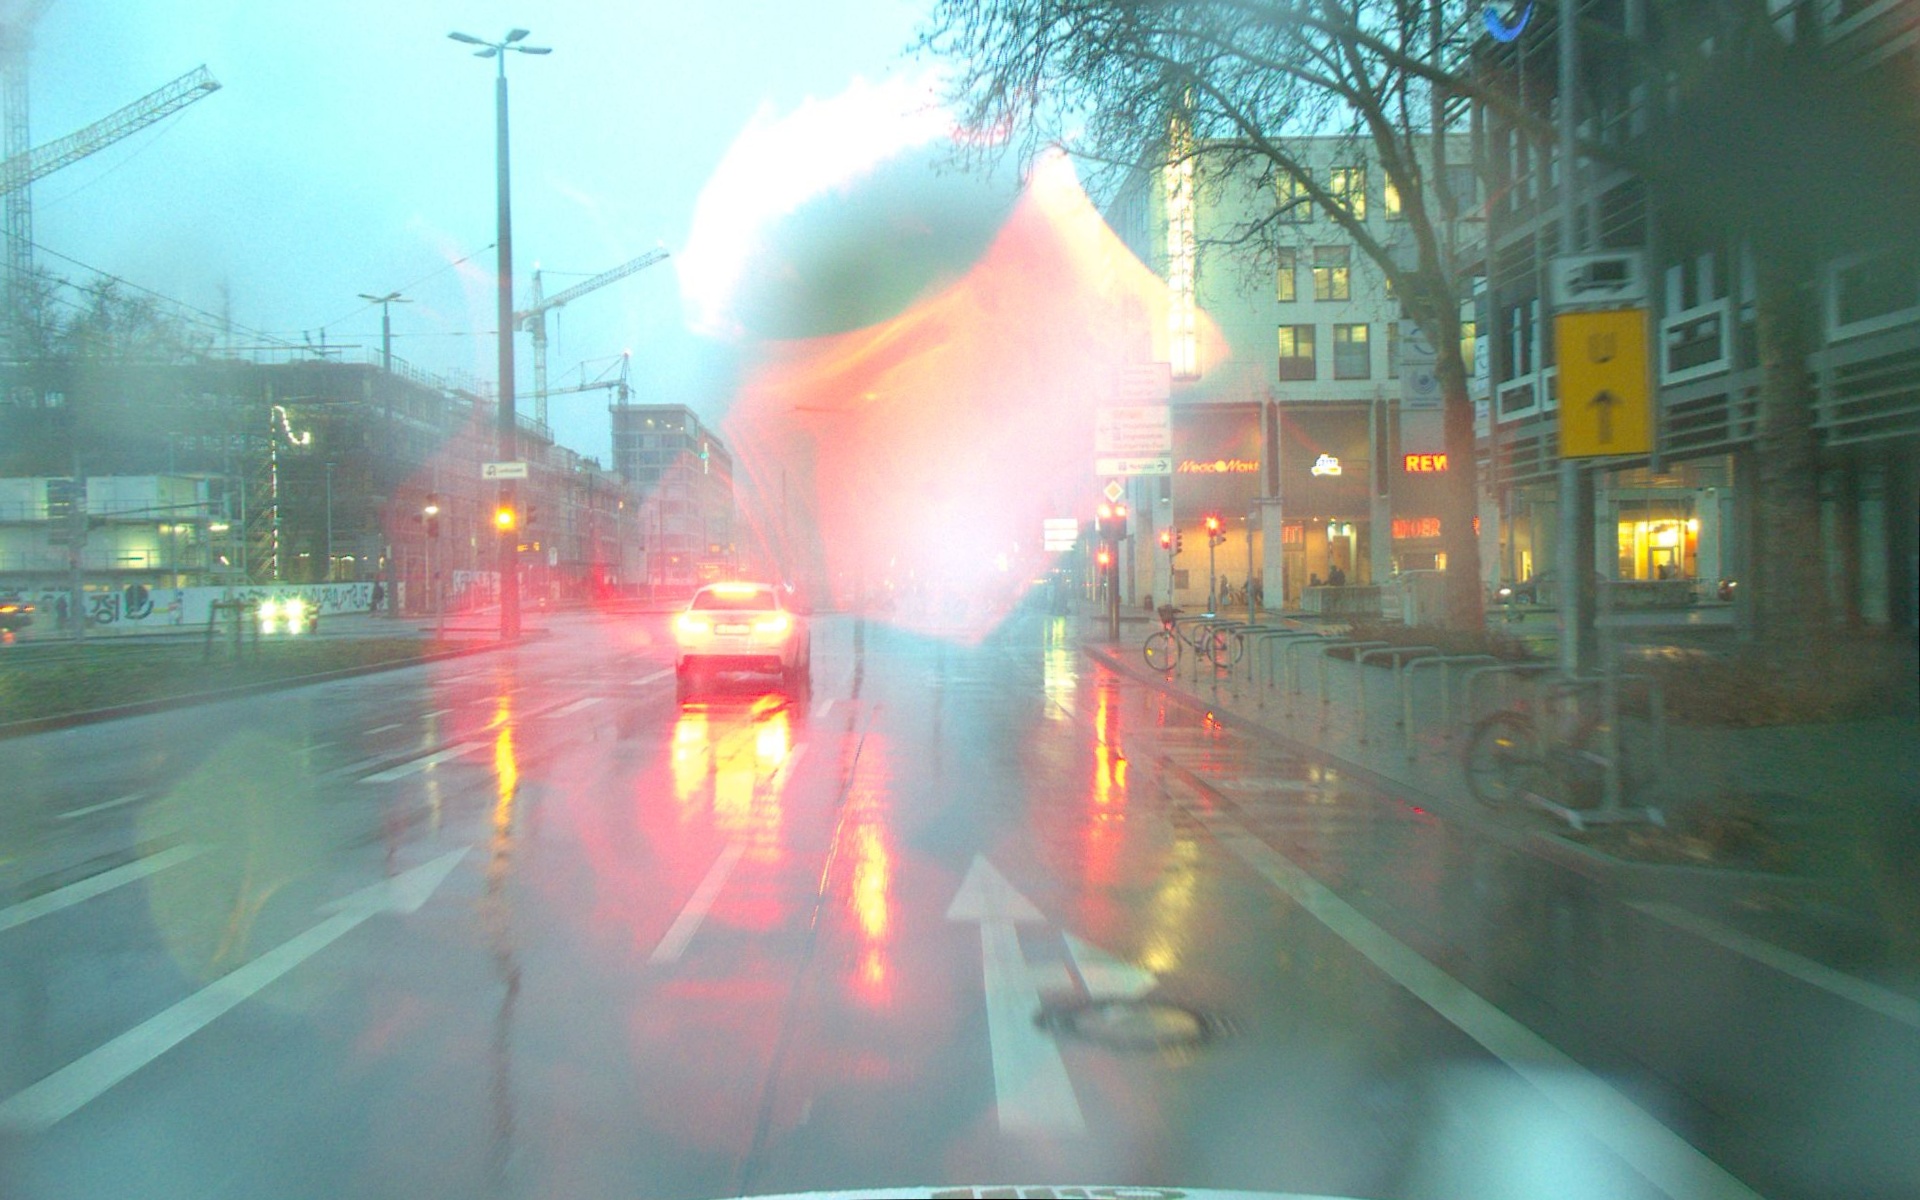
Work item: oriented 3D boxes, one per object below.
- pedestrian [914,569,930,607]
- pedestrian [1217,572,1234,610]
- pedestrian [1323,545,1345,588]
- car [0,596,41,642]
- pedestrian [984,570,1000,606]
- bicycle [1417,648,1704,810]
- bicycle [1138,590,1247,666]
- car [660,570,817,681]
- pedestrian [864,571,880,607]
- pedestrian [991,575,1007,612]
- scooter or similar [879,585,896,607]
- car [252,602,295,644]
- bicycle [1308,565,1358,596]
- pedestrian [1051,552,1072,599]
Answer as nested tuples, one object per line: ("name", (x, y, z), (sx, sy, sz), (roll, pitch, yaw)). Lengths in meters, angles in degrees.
("pedestrian", (-1.805, -0.559, 78.349), (0.688, 1.791, 0.667), (-1, 0, 0))
("pedestrian", (12.717, -0.421, 79.343), (0.688, 1.791, 0.652), (-1, 0, 0))
("pedestrian", (14.129, -1.268, 62.484), (0.764, 1.623, 0.613), (-1, 0, 15))
("car", (-39.413, 0.776, 66.371), (3.910, 1.780, 1.998), (-1, 1, -6))
("pedestrian", (1.494, -0.549, 76.655), (0.692, 1.647, 0.680), (-1, 0, 1))
("bicycle", (4.162, 0.878, 11.517), (1.752, 0.991, 0.617), (-2, 0, -5))
("bicycle", (3.894, 0.460, 27.711), (1.716, 1.168, 0.435), (-3, 0, -5))
("car", (-3.377, 0.336, 26.132), (1.871, 1.547, 4.923), (-1, 1, -1))
("pedestrian", (-4.164, -0.512, 78.115), (0.727, 1.696, 0.400), (-1, 0, -7))
("pedestrian", (1.774, -0.311, 75.056), (0.692, 1.647, 0.613), (-1, 0, -2))
("scooter or similar", (-3.431, -0.201, 78.200), (0.727, 1.010, 0.400), (-1, 0, -7))
("car", (-35.735, 1.185, 86.197), (1.729, 2.049, 3.980), (-1, 1, -18))
("bicycle", (14.086, -0.739, 62.522), (1.806, 1.112, 0.618), (-1, 0, 15))
("pedestrian", (4.622, -1.095, 75.133), (0.681, 2.124, 0.604), (-1, 0, -40))
